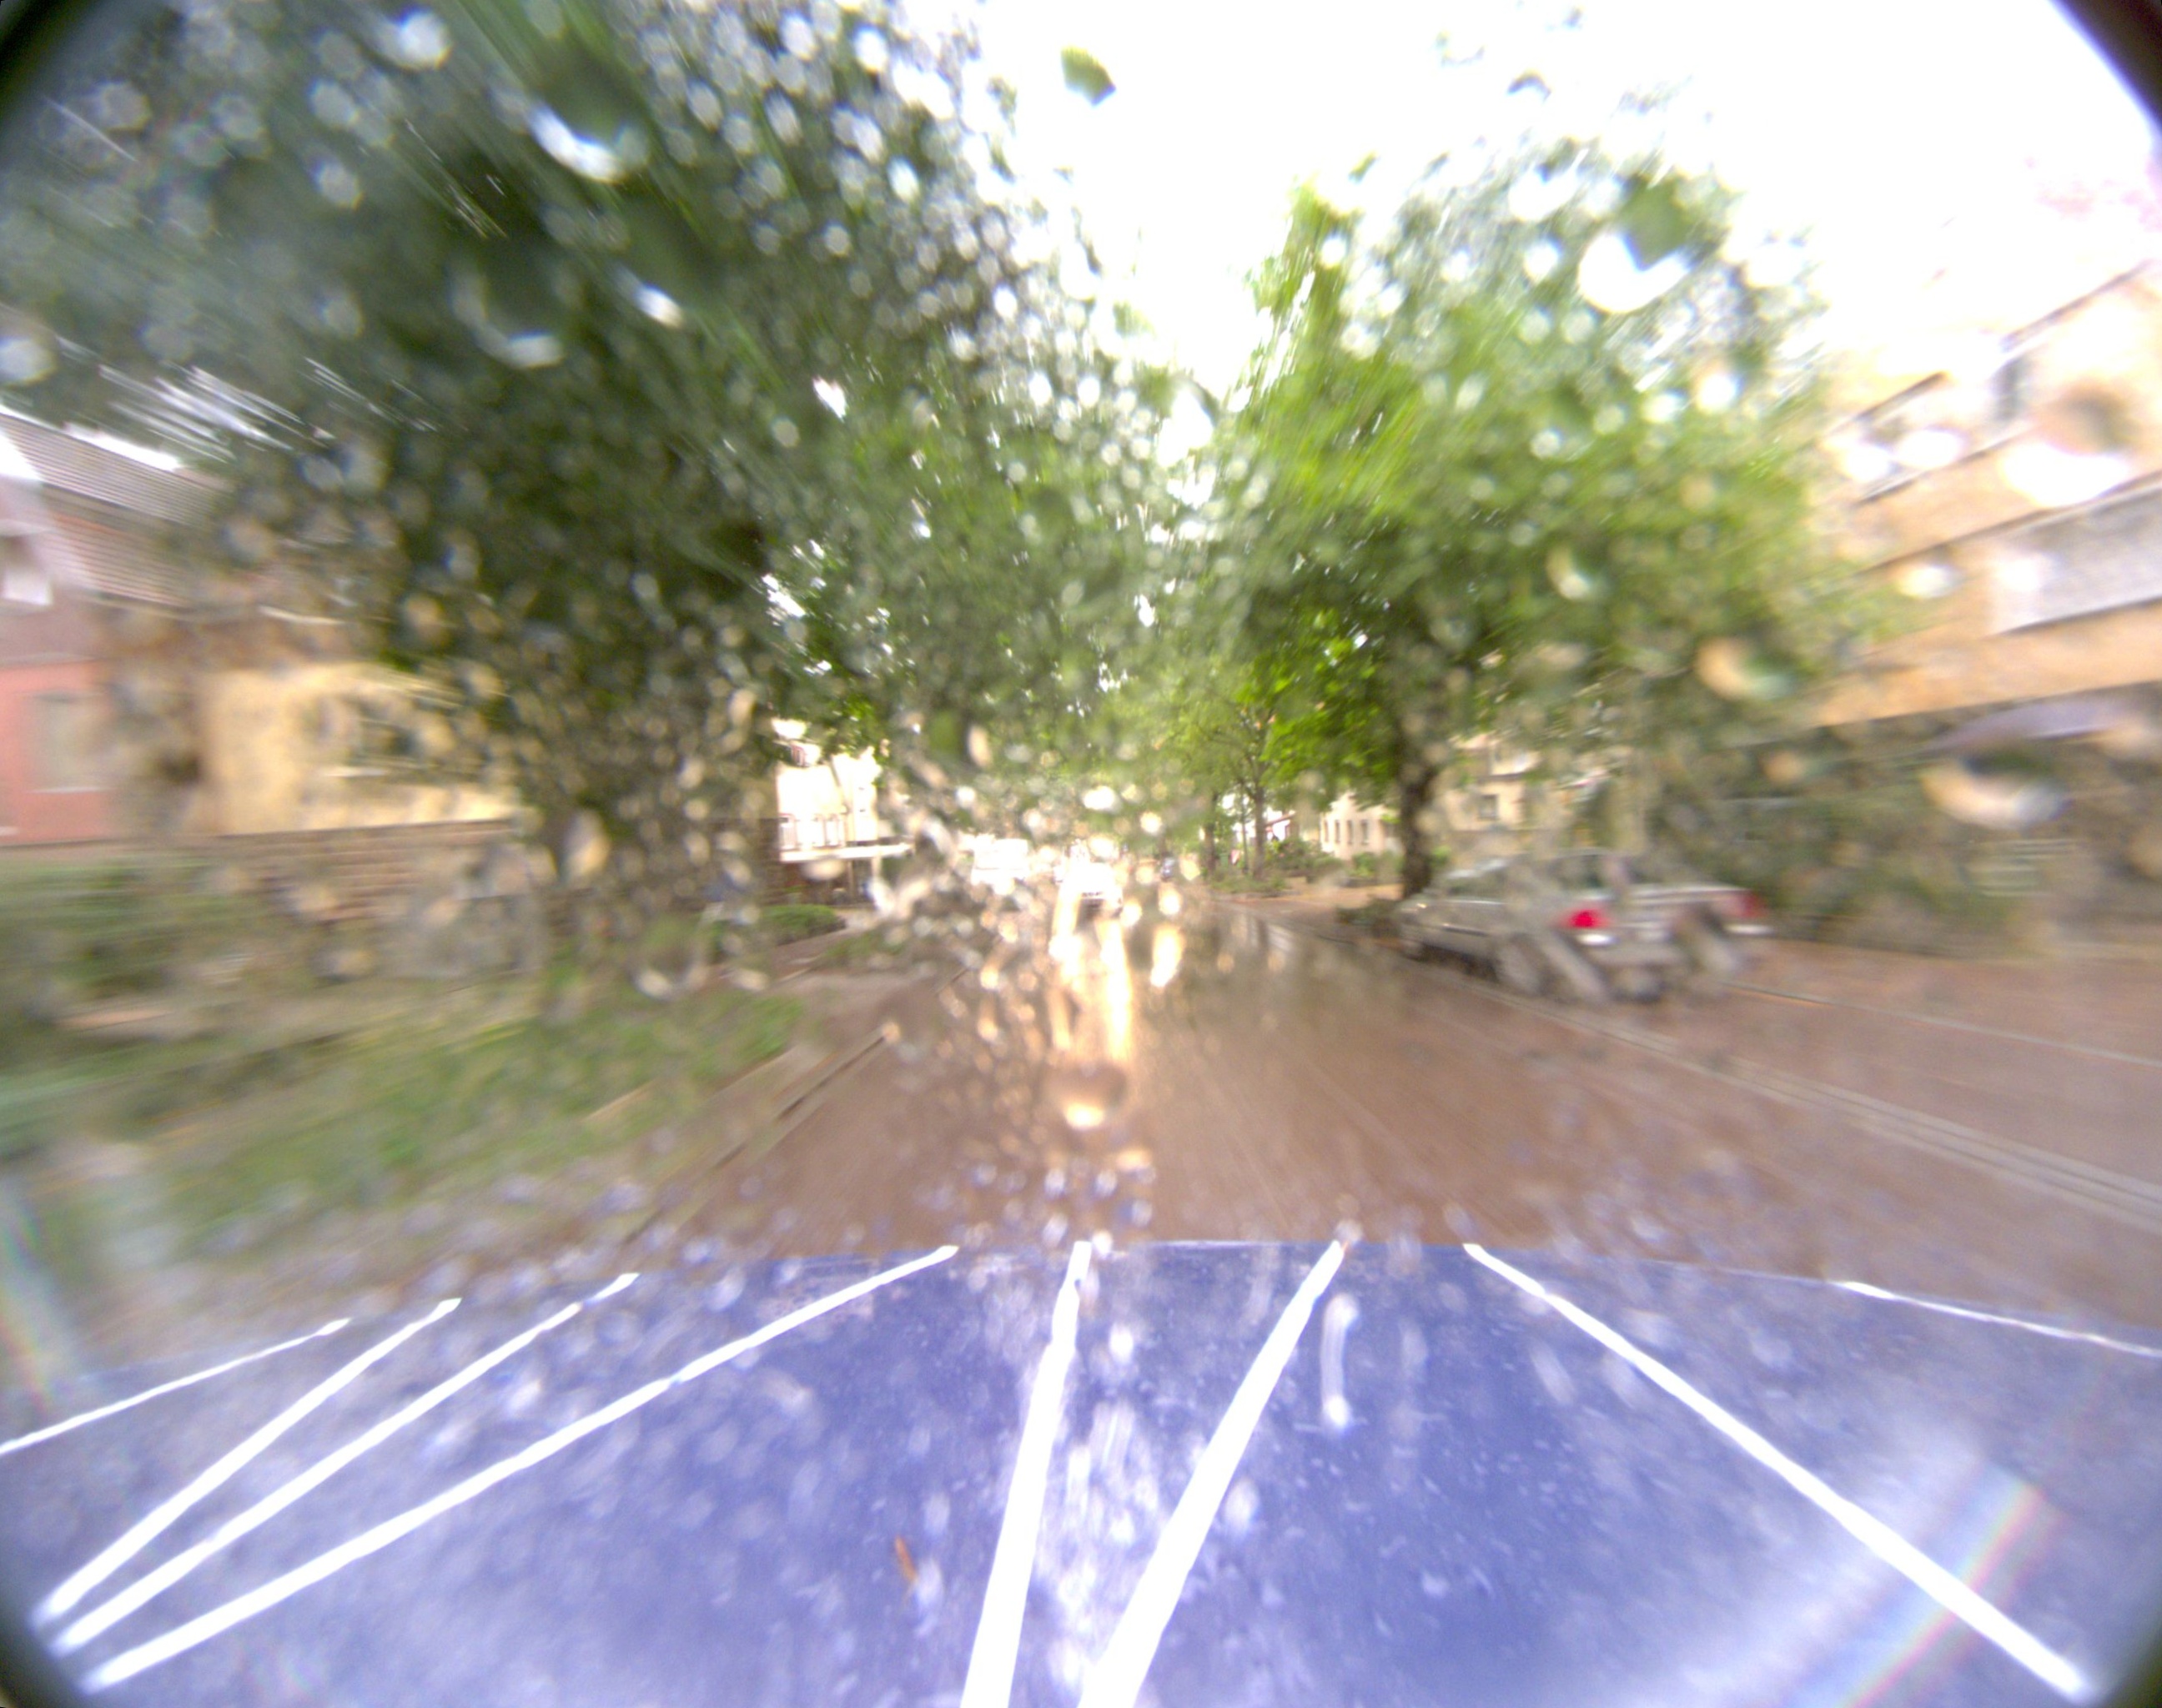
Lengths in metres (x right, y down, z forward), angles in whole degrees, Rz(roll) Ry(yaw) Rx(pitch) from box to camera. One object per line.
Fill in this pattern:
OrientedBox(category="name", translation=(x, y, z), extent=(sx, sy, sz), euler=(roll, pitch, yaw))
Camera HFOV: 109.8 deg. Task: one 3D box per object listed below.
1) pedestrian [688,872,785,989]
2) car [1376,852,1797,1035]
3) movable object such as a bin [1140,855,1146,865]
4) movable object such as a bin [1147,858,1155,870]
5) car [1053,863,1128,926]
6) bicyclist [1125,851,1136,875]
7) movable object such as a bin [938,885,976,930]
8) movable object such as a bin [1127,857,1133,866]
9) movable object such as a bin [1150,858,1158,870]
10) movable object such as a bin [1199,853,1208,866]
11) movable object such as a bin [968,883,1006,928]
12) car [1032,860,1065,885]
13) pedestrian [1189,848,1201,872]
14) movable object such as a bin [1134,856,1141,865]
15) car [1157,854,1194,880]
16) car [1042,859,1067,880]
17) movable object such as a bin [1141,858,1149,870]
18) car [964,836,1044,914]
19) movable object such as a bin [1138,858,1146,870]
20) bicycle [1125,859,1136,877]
OrientedBox(category="pedestrian", translation=(-5.107, 1.119, 11.297), extent=(0.955, 1.642, 0.795), euler=(-2, 1, 15))
OrientedBox(category="car", translation=(5.093, 0.754, 8.609), extent=(1.776, 1.380, 4.546), euler=(-5, 0, 2))
OrientedBox(category="movable object such as a bin", translation=(7.413, 0.707, 90.850), extent=(0.618, 1.053, 0.561), euler=(-6, 1, 0))
OrientedBox(category="movable object such as a bin", translation=(6.477, 0.888, 70.550), extent=(0.665, 1.068, 0.596), euler=(-2, 1, 5))
OrientedBox(category="car", translation=(0.354, 1.053, 21.390), extent=(1.828, 1.451, 3.876), euler=(-4, 0, 3))
OrientedBox(category="bicyclist", translation=(3.535, 0.652, 54.646), extent=(0.629, 1.721, 0.880), euler=(-4, 1, 1))
OrientedBox(category="movable object such as a bin", translation=(-3.232, 1.387, 19.874), extent=(0.750, 1.069, 0.879), euler=(-4, 0, 1))
OrientedBox(category="movable object such as a bin", translation=(5.827, 0.874, 90.792), extent=(0.585, 1.070, 0.570), euler=(-6, 1, -1))
OrientedBox(category="movable object such as a bin", translation=(6.673, 0.883, 69.823), extent=(0.665, 1.068, 0.596), euler=(-2, 1, 5))
OrientedBox(category="movable object such as a bin", translation=(11.241, 0.530, 69.786), extent=(0.664, 1.126, 0.659), euler=(-4, 1, 3))
OrientedBox(category="movable object such as a bin", translation=(-2.450, 1.337, 19.802), extent=(0.799, 1.069, 0.879), euler=(-4, 0, 1))
OrientedBox(category="car", translation=(-2.047, 1.145, 48.371), extent=(1.813, 1.402, 3.783), euler=(-4, 0, 1))
OrientedBox(category="pedestrian", translation=(7.894, 0.412, 52.705), extent=(0.651, 1.585, 0.932), euler=(-4, 1, 1))
OrientedBox(category="movable object such as a bin", translation=(6.738, 0.783, 90.846), extent=(0.618, 1.053, 0.569), euler=(-6, 1, 0))
OrientedBox(category="car", translation=(5.613, 0.744, 45.520), extent=(1.754, 1.388, 3.796), euler=(-4, 0, 2))
OrientedBox(category="car", translation=(-2.007, 1.153, 57.858), extent=(1.685, 1.391, 3.795), euler=(-3, 0, 0))
OrientedBox(category="movable object such as a bin", translation=(5.876, 0.936, 69.885), extent=(0.665, 1.061, 0.596), euler=(-2, 1, 5))
OrientedBox(category="car", translation=(-2.679, 0.697, 27.937), extent=(2.146, 2.445, 5.435), euler=(-4, 0, 1))
OrientedBox(category="movable object such as a bin", translation=(5.642, 0.933, 70.649), extent=(0.665, 1.068, 0.596), euler=(-2, 1, 5))
OrientedBox(category="bicycle", translation=(3.552, 1.017, 54.655), extent=(0.629, 1.202, 1.981), euler=(-4, 0, 1))
